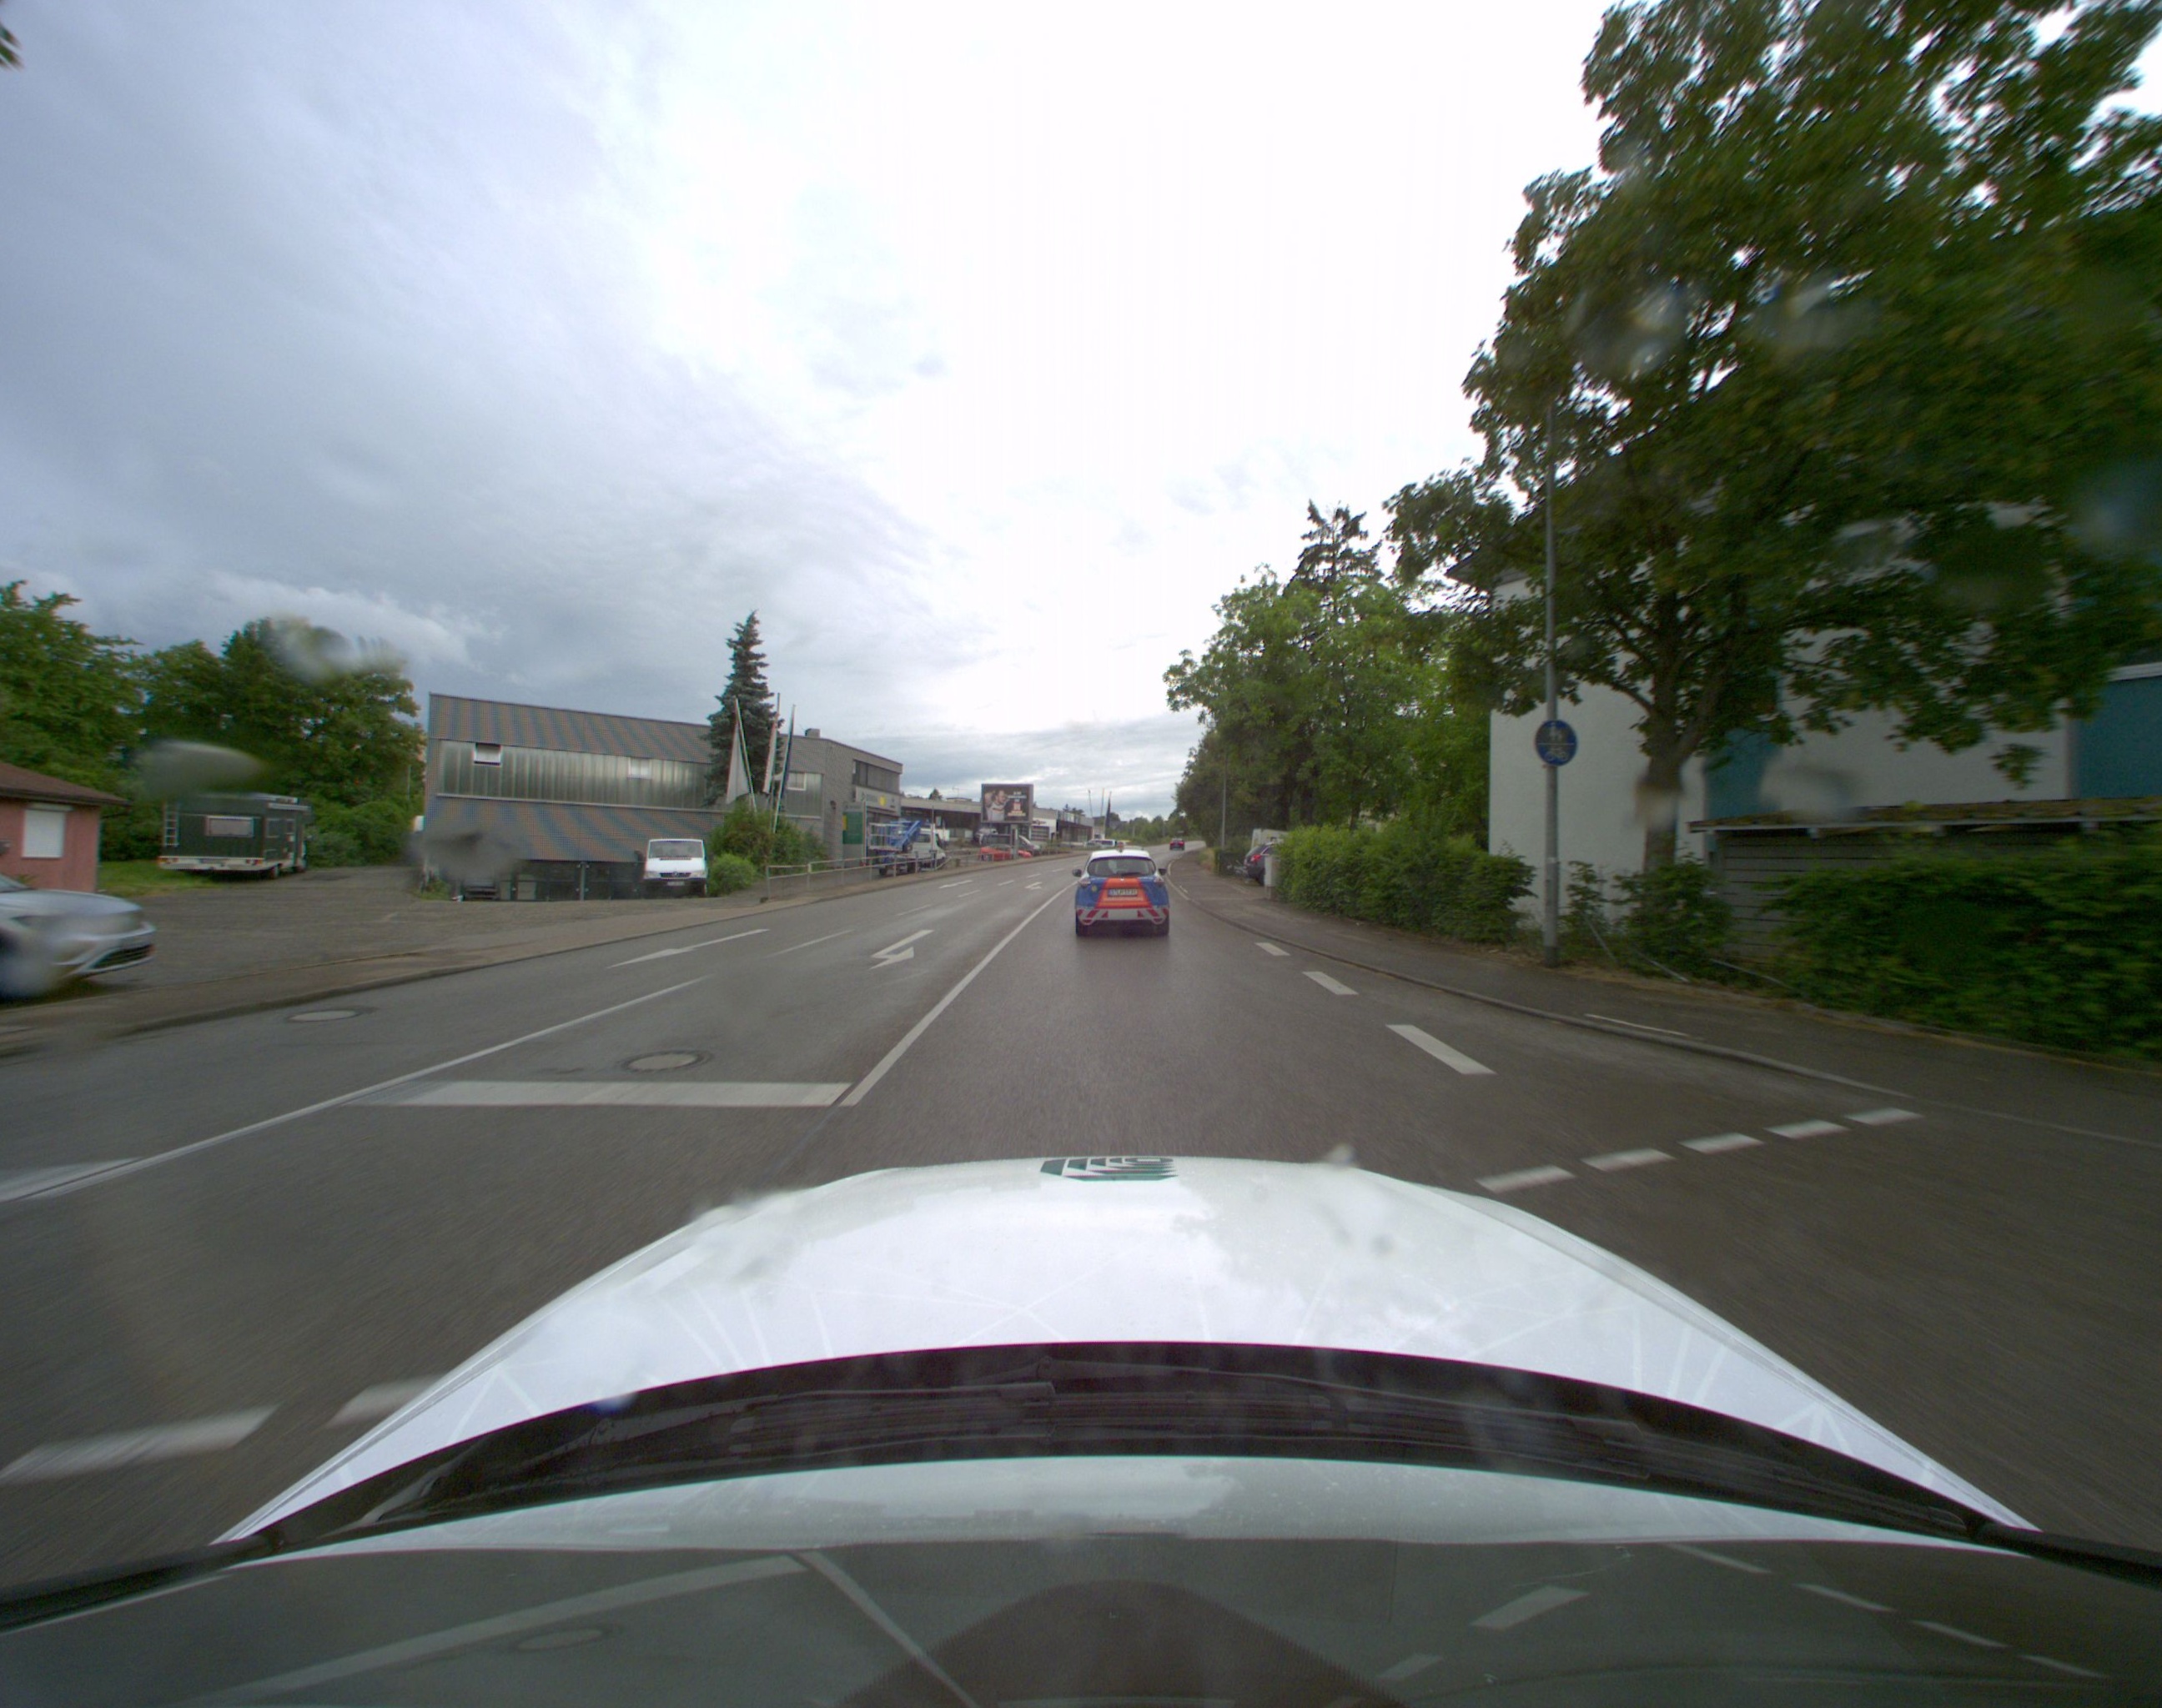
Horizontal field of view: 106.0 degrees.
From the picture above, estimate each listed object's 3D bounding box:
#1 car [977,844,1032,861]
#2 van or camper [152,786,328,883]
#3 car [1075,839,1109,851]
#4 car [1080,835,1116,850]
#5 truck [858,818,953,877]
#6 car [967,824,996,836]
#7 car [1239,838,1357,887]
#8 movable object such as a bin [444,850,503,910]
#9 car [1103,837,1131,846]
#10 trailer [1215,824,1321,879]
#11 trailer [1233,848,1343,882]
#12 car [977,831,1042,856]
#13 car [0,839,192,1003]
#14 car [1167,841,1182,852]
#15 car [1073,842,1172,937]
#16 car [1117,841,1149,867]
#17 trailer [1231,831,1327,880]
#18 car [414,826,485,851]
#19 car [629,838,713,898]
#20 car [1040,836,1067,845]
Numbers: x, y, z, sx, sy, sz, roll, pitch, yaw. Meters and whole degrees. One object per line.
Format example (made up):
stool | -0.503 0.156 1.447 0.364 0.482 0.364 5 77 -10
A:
car | -5.866 -0.132 62.867 4.081 1.267 1.769 1 1 -2
van or camper | -29.923 -0.777 29.409 2.486 2.895 8.036 5 0 -33
car | 1.332 -1.146 101.835 3.984 1.478 1.829 1 2 10
car | 2.177 -1.488 104.254 4.385 1.797 1.940 1 1 10
truck | -8.478 -0.451 40.365 1.982 2.632 7.912 1 2 8
car | -12.275 -2.934 100.540 1.803 1.478 4.043 1 2 20
car | 8.493 0.302 32.137 4.193 1.749 1.987 2 2 4
movable object such as a bin | -23.543 0.937 31.669 1.670 2.013 3.959 0 2 -34
car | 5.488 -1.933 122.448 4.040 1.290 1.809 1 2 8
trailer | 8.951 -0.134 39.210 4.526 2.400 1.946 2 1 -4
trailer | 8.893 0.457 35.225 4.379 1.288 1.573 1 2 2
car | -5.738 -0.842 65.760 5.047 1.870 1.824 1 1 2
car | -12.253 0.623 8.227 4.018 1.570 1.705 2 0 -28
car | 11.876 -0.990 103.320 1.605 1.407 3.506 1 1 9
car | 0.731 0.606 15.914 1.652 1.593 3.568 2 0 0
car | 3.302 -0.029 51.609 1.792 1.590 3.570 1 1 7
trailer | 8.995 0.067 37.187 3.936 2.021 1.688 3 1 2
car | -49.625 -1.200 64.108 4.300 1.871 2.042 0 1 -35
car | -14.115 0.425 28.292 2.064 1.871 4.254 1 1 -20
car | -4.362 -2.102 128.415 1.965 1.416 3.973 -1 2 -45
